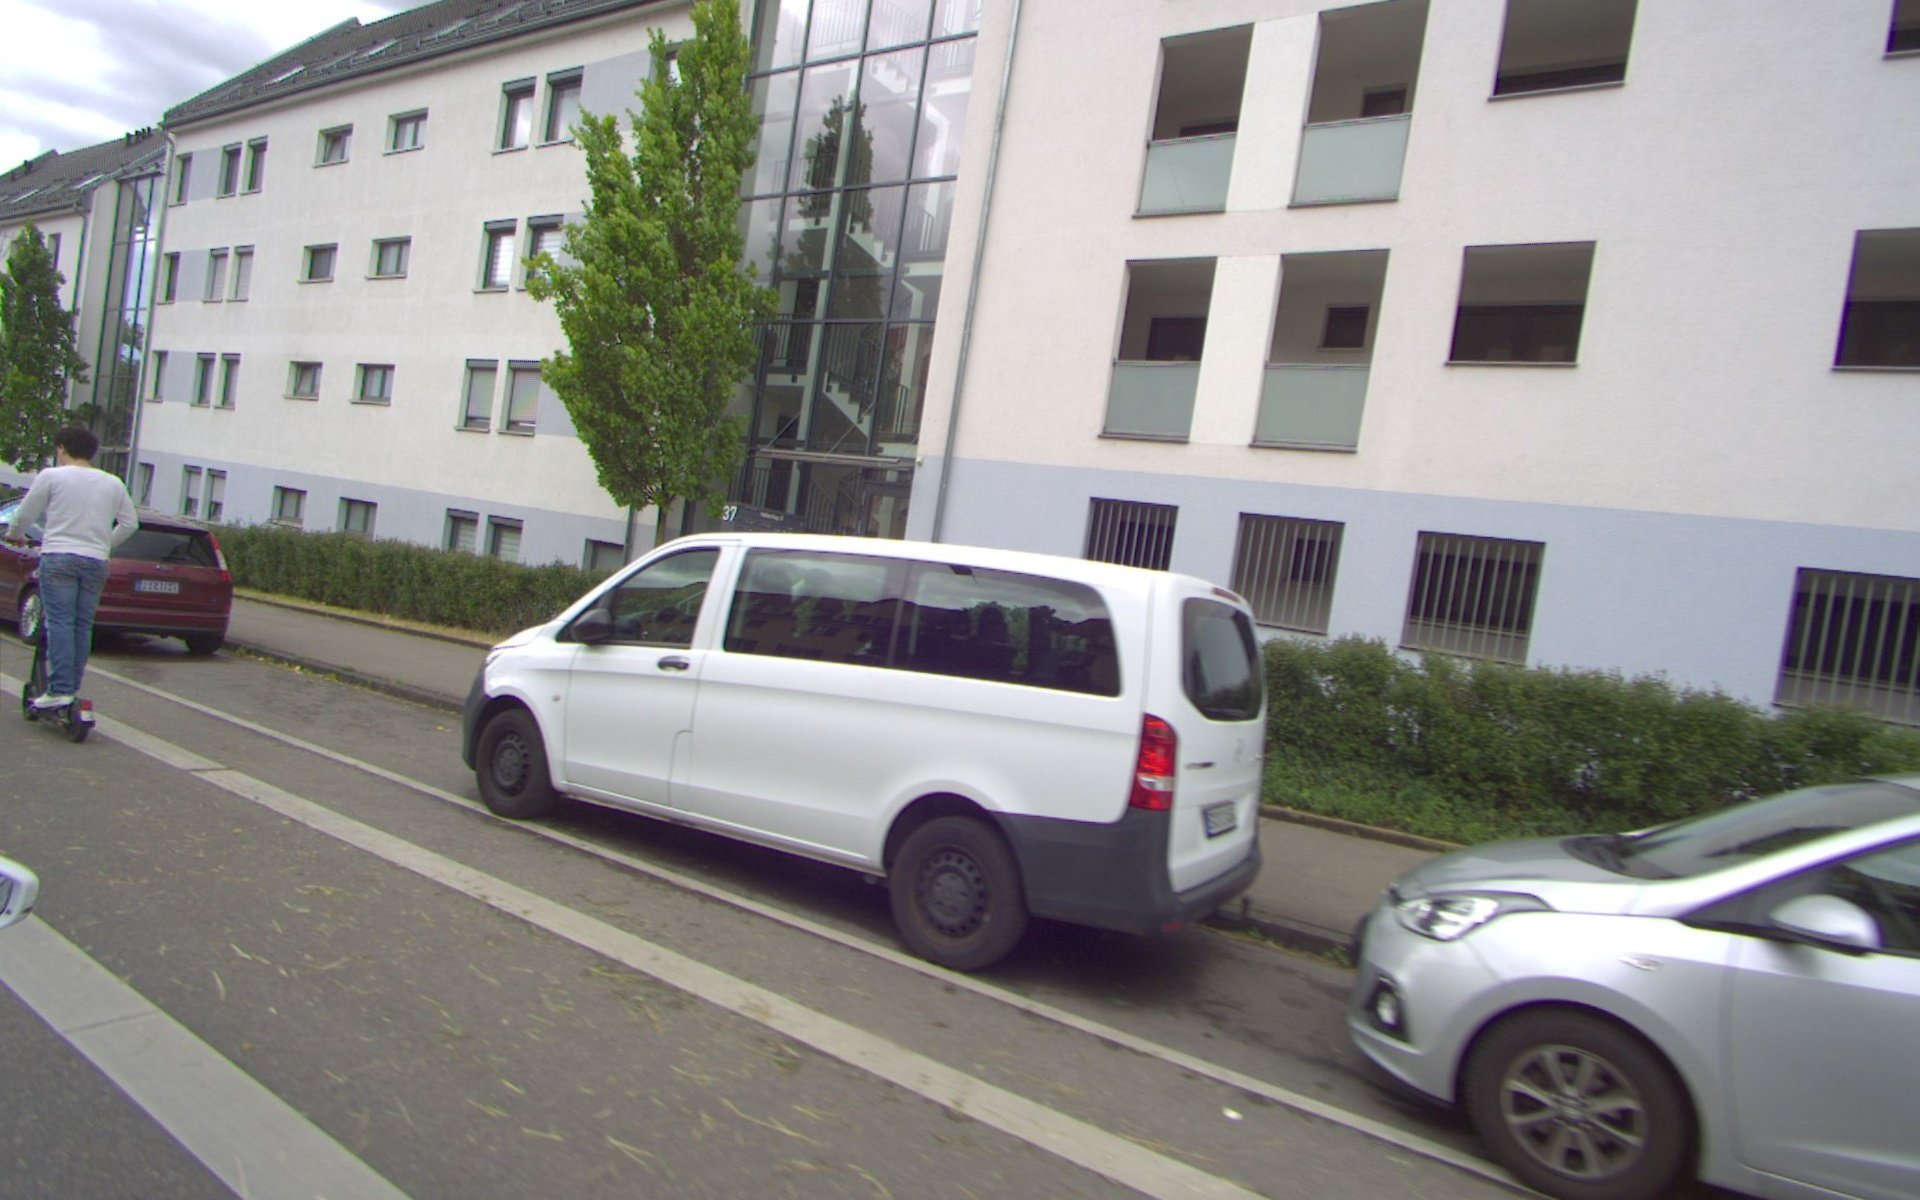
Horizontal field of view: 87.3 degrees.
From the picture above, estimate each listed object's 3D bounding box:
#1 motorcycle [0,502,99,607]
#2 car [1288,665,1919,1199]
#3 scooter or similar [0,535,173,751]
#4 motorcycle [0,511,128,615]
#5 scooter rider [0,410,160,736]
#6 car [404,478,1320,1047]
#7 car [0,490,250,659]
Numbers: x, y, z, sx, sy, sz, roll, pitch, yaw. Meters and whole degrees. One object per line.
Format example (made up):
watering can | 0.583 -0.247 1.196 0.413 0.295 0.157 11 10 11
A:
motorcycle | -14.042 -0.728 14.279 0.680 1.397 2.603 7 -1 28
car | 3.174 1.248 3.264 3.662 1.503 1.529 7 -1 28
scooter or similar | -6.079 0.230 6.744 2.040 1.177 0.491 7 0 32
motorcycle | -13.172 -0.566 13.746 0.740 1.294 2.603 7 -1 28
scooter rider | -5.992 -0.176 6.713 0.745 2.038 0.626 7 1 31
car | -0.813 0.539 6.030 5.124 1.967 1.996 7 0 32
car | -10.514 -0.388 11.970 4.266 1.563 1.684 7 -1 31
